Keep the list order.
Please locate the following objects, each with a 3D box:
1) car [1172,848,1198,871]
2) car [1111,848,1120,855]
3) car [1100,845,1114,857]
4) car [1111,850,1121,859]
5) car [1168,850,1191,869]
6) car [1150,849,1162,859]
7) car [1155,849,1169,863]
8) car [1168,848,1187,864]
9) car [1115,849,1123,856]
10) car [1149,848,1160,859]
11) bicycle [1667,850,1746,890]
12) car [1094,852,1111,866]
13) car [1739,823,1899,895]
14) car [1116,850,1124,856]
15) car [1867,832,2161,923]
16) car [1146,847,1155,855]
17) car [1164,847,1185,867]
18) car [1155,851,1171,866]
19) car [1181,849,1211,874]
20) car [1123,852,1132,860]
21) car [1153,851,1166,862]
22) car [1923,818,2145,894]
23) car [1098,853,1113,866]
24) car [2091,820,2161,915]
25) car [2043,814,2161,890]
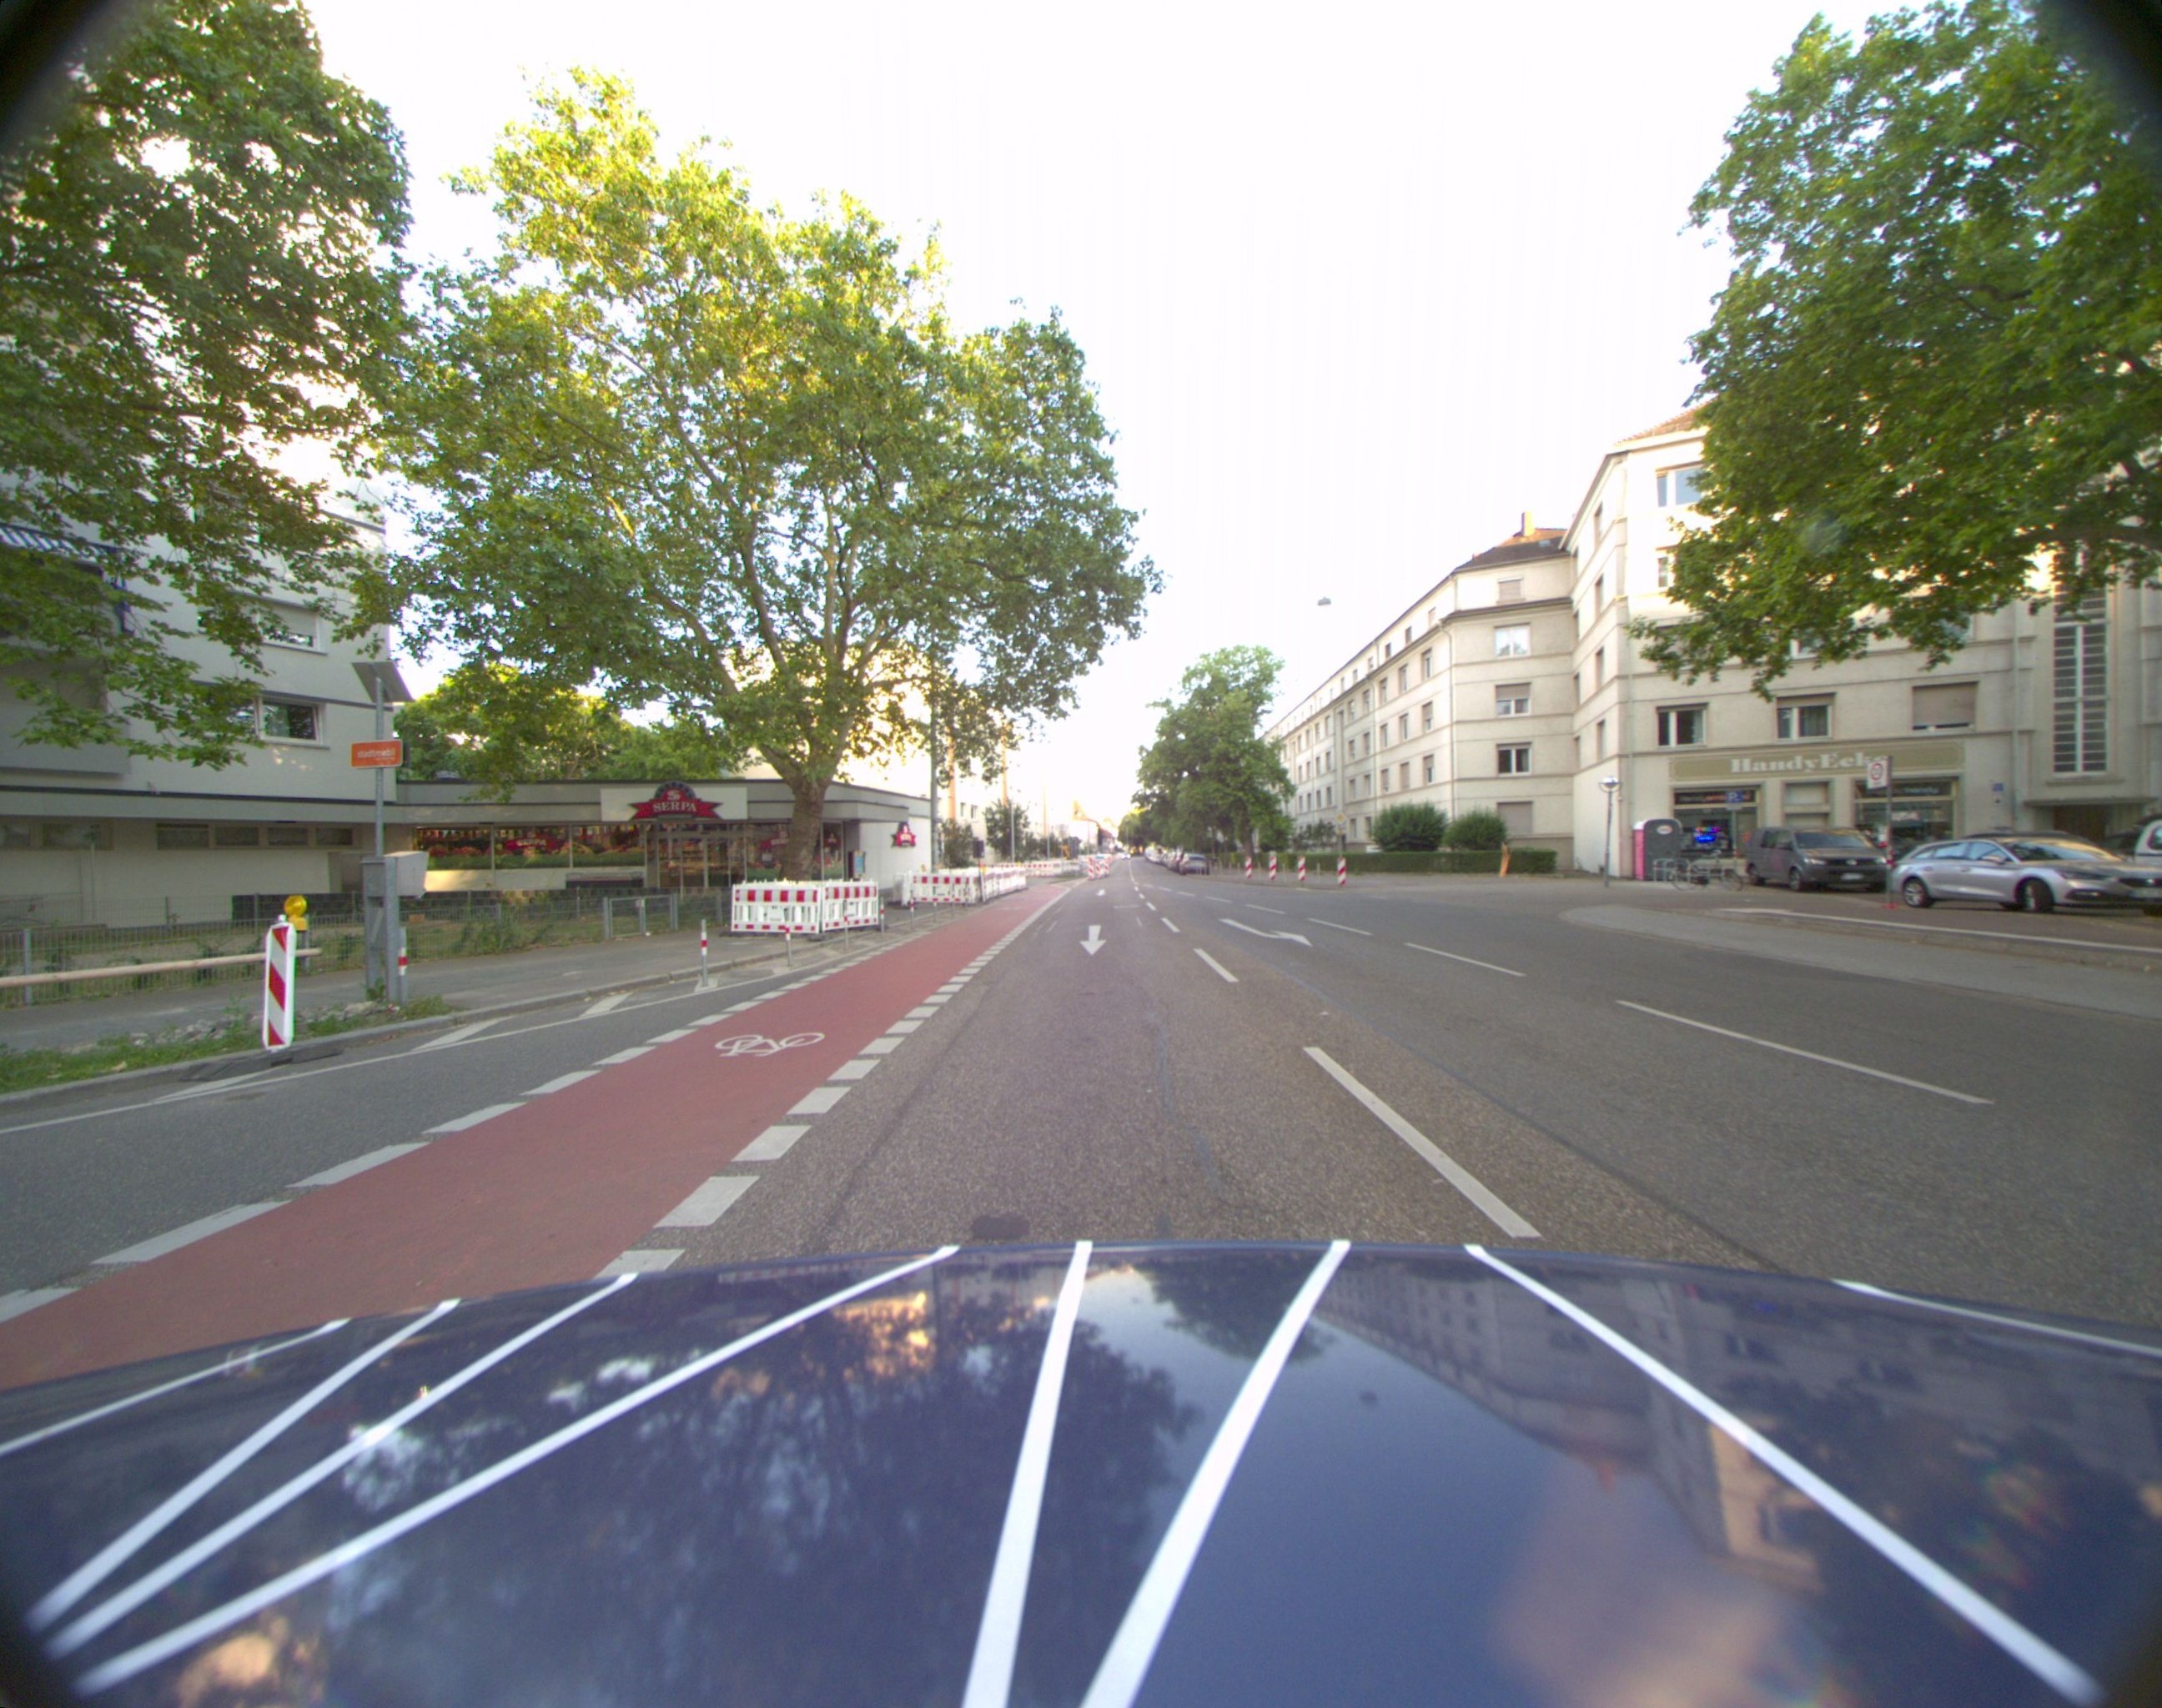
[{"bbox_3d":[8.464,0.393,62.149,1.892,1.681,4.260,-2,1,6],"label":"car"},{"bbox_3d":[8.489,-0.571,184.836,1.892,1.591,4.260,-2,1,6],"label":"car"},{"bbox_3d":[4.183,-0.484,121.837,1.892,1.651,4.260,-2,1,6],"label":"car"},{"bbox_3d":[7.164,0.114,156.226,1.892,1.591,4.260,-2,1,6],"label":"car"},{"bbox_3d":[9.010,0.476,69.467,1.892,1.591,4.260,-2,1,6],"label":"car"},{"bbox_3d":[13.133,0.009,132.798,1.892,1.591,4.260,-2,1,6],"label":"car"},{"bbox_3d":[11.551,0.262,108.207,1.892,1.855,4.260,-2,1,6],"label":"car"},{"bbox_3d":[10.271,0.202,80.924,1.892,1.591,4.260,1,1,5],"label":"car"},{"bbox_3d":[9.768,-0.397,196.472,1.892,1.591,4.260,-2,1,6],"label":"car"},{"bbox_3d":[13.800,-0.089,142.742,1.892,1.868,4.946,-2,1,6],"label":"car"},{"bbox_3d":[19.404,0.505,23.617,1.802,1.199,0.648,-1,2,33],"label":"bicycle"},{"bbox_3d":[2.885,0.639,101.038,1.892,1.591,4.260,-2,1,6],"label":"car"},{"bbox_3d":[22.616,0.057,23.558,1.995,1.945,4.646,0,3,23],"label":"car"},{"bbox_3d":[10.562,-0.231,205.572,1.892,1.591,4.260,-2,1,6],"label":"car"},{"bbox_3d":[18.136,0.413,14.676,1.996,1.494,4.647,0,-1,15],"label":"car"},{"bbox_3d":[15.195,-0.661,166.081,1.892,1.591,4.260,-2,1,6],"label":"car"},{"bbox_3d":[9.281,0.259,75.413,1.892,1.764,4.260,-2,1,6],"label":"car"},{"bbox_3d":[10.686,0.537,99.115,1.892,1.815,4.260,-2,1,6],"label":"car"},{"bbox_3d":[8.145,0.532,54.194,1.892,1.591,4.001,-2,1,6],"label":"car"},{"bbox_3d":[11.036,0.502,180.052,1.998,1.838,4.001,-2,1,5],"label":"car"},{"bbox_3d":[12.118,0.353,117.876,1.892,1.591,4.260,-2,1,6],"label":"car"},{"bbox_3d":[27.122,-0.043,21.920,1.995,1.945,4.646,0,3,23],"label":"car"},{"bbox_3d":[3.694,0.802,113.325,1.892,1.726,4.260,-2,1,6],"label":"car"},{"bbox_3d":[20.721,0.239,12.995,1.995,1.771,4.648,0,-1,21],"label":"car"},{"bbox_3d":[29.619,-0.118,20.832,1.995,1.945,4.646,0,3,23],"label":"car"}]
